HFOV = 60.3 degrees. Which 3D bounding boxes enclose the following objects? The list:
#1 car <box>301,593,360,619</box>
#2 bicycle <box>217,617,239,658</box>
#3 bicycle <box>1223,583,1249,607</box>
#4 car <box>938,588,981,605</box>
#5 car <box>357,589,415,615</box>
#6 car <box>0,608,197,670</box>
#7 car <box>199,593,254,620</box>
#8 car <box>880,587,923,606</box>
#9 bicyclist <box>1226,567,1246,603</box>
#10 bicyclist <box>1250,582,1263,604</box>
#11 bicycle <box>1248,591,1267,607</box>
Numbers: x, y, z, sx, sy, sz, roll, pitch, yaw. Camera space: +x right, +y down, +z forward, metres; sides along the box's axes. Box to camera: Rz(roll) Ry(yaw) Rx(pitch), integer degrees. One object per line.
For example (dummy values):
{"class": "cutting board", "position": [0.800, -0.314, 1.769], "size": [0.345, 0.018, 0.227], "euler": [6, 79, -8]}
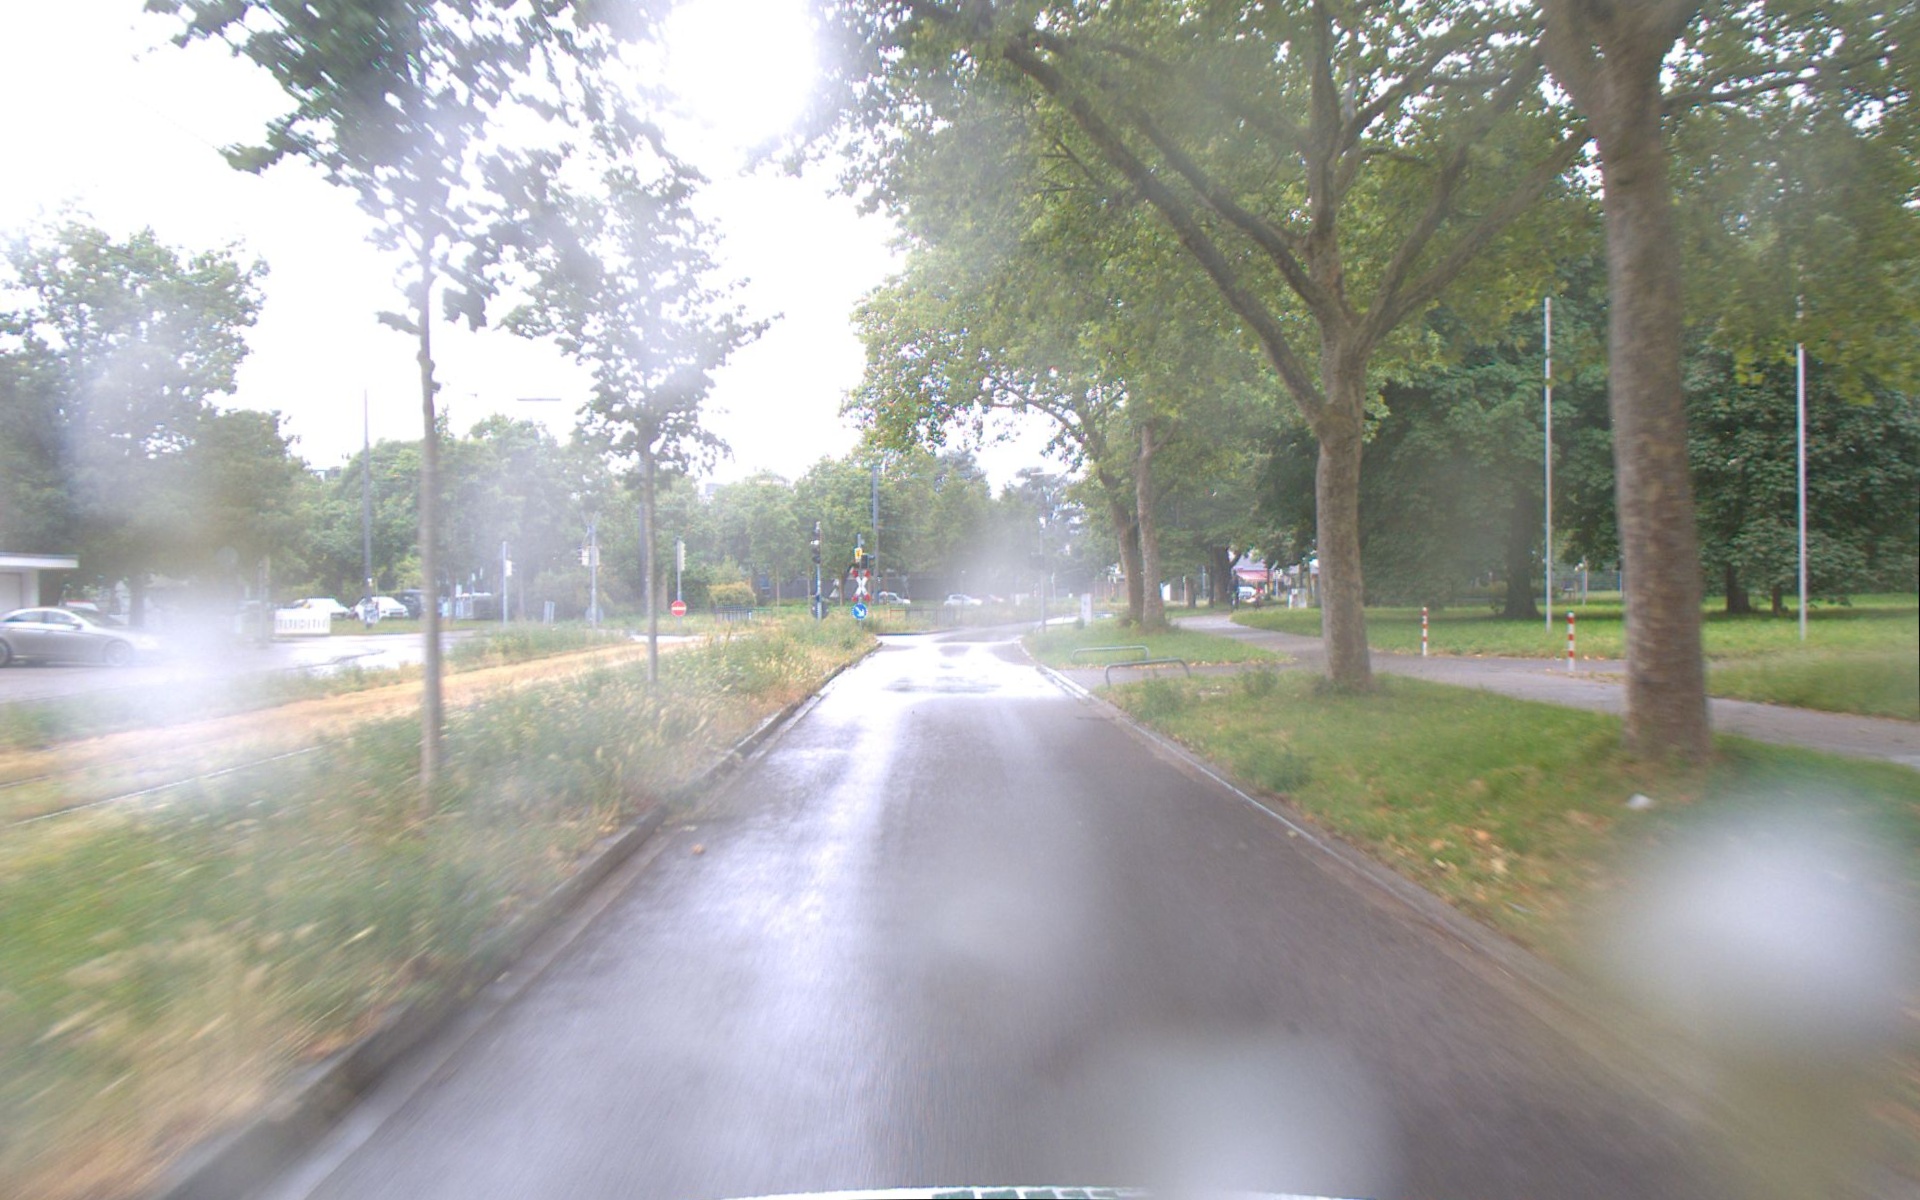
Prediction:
{"class": "car", "position": [-32.520, 0.306, 85.421], "size": [1.651, 1.271, 3.685], "euler": [-2, 0, -42]}
{"class": "bicycle", "position": [-19.858, 0.997, 44.852], "size": [0.474, 1.037, 1.827], "euler": [2, 0, -25]}
{"class": "bicycle", "position": [13.862, -0.268, 82.999], "size": [0.698, 1.162, 1.969], "euler": [0, 2, 28]}
{"class": "car", "position": [-0.047, -0.349, 167.453], "size": [3.979, 1.525, 1.653], "euler": [-1, 0, 16]}
{"class": "car", "position": [-30.504, 0.120, 87.857], "size": [1.651, 1.271, 3.685], "euler": [-2, 0, -42]}
{"class": "car", "position": [-20.671, 0.892, 38.848], "size": [4.629, 1.389, 1.848], "euler": [0, 0, -1]}
{"class": "car", "position": [-36.920, 0.329, 83.226], "size": [1.649, 1.271, 3.689], "euler": [-2, 0, -39]}
{"class": "car", "position": [-5.996, -0.356, 169.208], "size": [4.121, 1.827, 1.653], "euler": [-1, 1, 19]}
{"class": "bicyclist", "position": [13.857, -0.744, 83.006], "size": [0.698, 1.751, 0.956], "euler": [0, 1, 28]}
{"class": "bicyclist", "position": [14.781, -0.342, 82.425], "size": [0.477, 1.056, 0.591], "euler": [-1, 2, 28]}
{"class": "bicycle", "position": [14.823, -0.063, 82.494], "size": [0.477, 0.721, 1.456], "euler": [-1, 2, 28]}
